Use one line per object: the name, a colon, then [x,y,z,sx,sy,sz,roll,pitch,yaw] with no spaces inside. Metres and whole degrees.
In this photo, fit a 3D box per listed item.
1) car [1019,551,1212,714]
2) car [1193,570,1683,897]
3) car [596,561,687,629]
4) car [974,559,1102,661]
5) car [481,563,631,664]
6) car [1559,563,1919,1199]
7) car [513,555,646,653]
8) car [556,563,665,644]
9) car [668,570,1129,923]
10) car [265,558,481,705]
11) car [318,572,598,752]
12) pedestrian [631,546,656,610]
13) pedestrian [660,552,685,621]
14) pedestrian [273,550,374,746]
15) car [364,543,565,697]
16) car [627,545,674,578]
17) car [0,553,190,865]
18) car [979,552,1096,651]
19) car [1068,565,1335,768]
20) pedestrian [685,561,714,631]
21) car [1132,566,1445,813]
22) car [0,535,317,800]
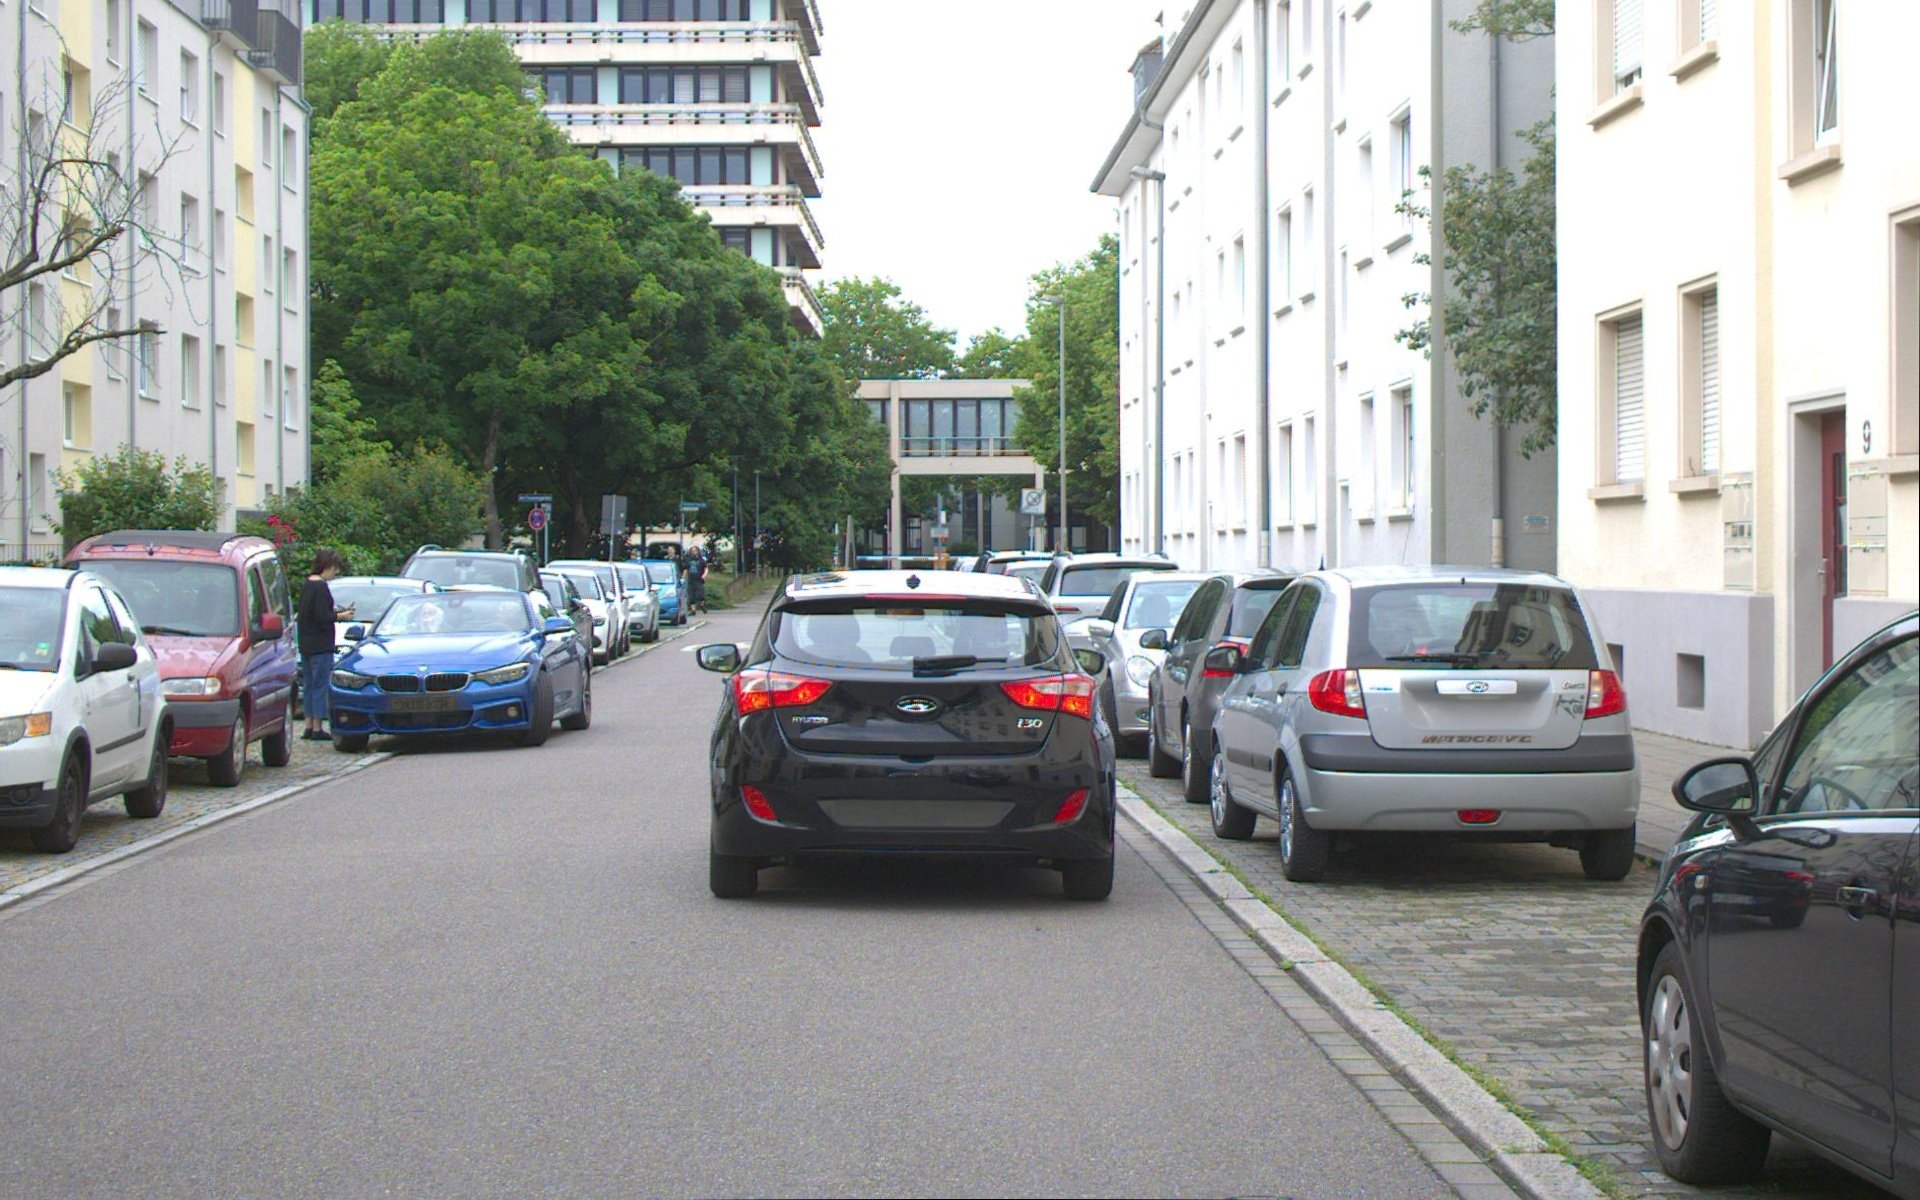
car: [1.595,0.297,36.595,1.820,1.636,4.091,0,1,-1]
car: [2.288,0.588,17.429,1.848,1.445,3.833,1,1,-1]
car: [-7.445,-0.138,80.695,1.993,1.536,4.001,0,1,-4]
car: [1.160,0.123,52.995,1.820,1.498,4.091,1,1,-1]
car: [-6.292,0.176,53.960,1.895,1.447,4.521,2,1,-2]
car: [2.558,0.692,7.134,1.725,1.512,4.061,1,1,-3]
car: [-6.604,0.043,60.078,1.895,1.593,4.521,2,1,-2]
car: [-6.921,0.047,68.384,1.993,1.536,4.001,0,1,-4]
car: [-0.285,0.590,16.418,1.903,1.428,4.233,-1,1,-1]
car: [-6.242,0.296,36.893,1.744,1.460,3.786,-1,1,-2]
car: [-4.364,0.494,30.488,1.845,1.446,4.501,0,1,0]
pedestrian: [-8.439,-0.582,91.621,0.600,1.707,0.648,0,1,0]
pedestrian: [-7.670,-0.374,91.663,0.605,1.825,0.675,0,1,0]
pedestrian: [-5.661,0.415,30.545,0.740,1.696,0.796,-1,1,-19]
car: [-6.056,0.208,42.443,1.895,1.734,4.475,2,1,-2]
car: [-12.474,-1.561,138.828,1.665,1.328,3.396,0,1,-1]
car: [-5.613,0.523,19.406,1.720,1.564,3.870,1,1,-2]
car: [1.270,-0.002,57.897,1.820,1.597,4.091,0,1,-1]
car: [1.855,0.467,27.609,1.725,1.471,4.505,0,1,-1]
pedestrian: [-6.937,-0.112,91.491,0.714,1.825,0.797,0,1,0]
car: [2.091,0.524,22.813,1.602,1.471,3.869,1,1,-1]
car: [-5.979,0.425,25.236,1.956,1.764,4.362,1,1,-4]
